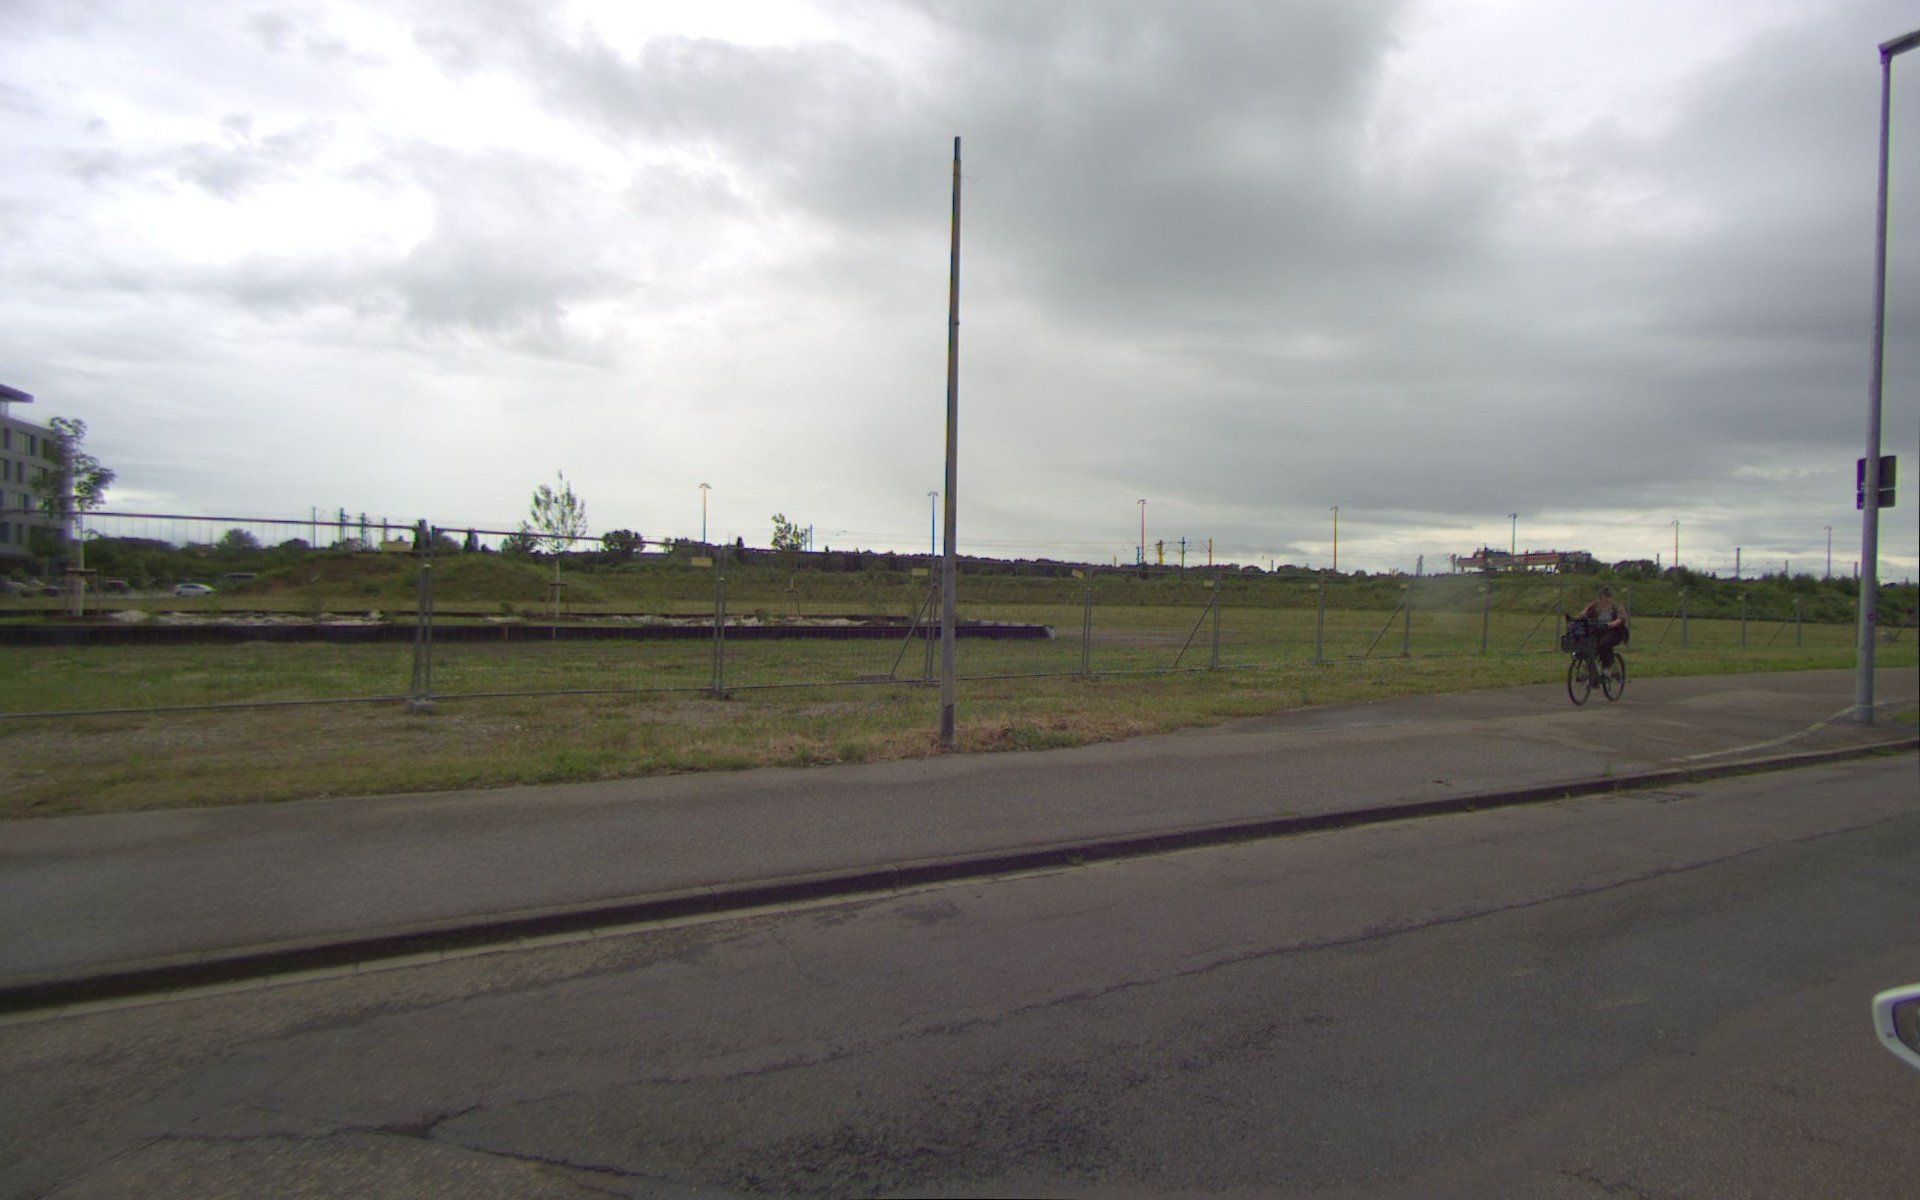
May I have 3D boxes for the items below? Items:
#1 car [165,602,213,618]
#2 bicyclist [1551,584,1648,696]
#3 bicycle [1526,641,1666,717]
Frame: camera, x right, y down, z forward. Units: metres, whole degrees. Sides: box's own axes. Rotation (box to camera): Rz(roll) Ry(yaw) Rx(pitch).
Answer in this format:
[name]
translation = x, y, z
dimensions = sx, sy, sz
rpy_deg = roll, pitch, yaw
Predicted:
[car]
translation = -85.724, 1.084, 111.762
dimensions = 3.950, 1.640, 1.985
rpy_deg = -1, 1, -29
[bicyclist]
translation = 9.276, 0.548, 14.572
dimensions = 1.081, 1.547, 0.778
rpy_deg = -1, 1, -30
[bicycle]
translation = 9.237, 1.114, 14.567
dimensions = 2.206, 0.920, 0.799
rpy_deg = -1, 1, -30
